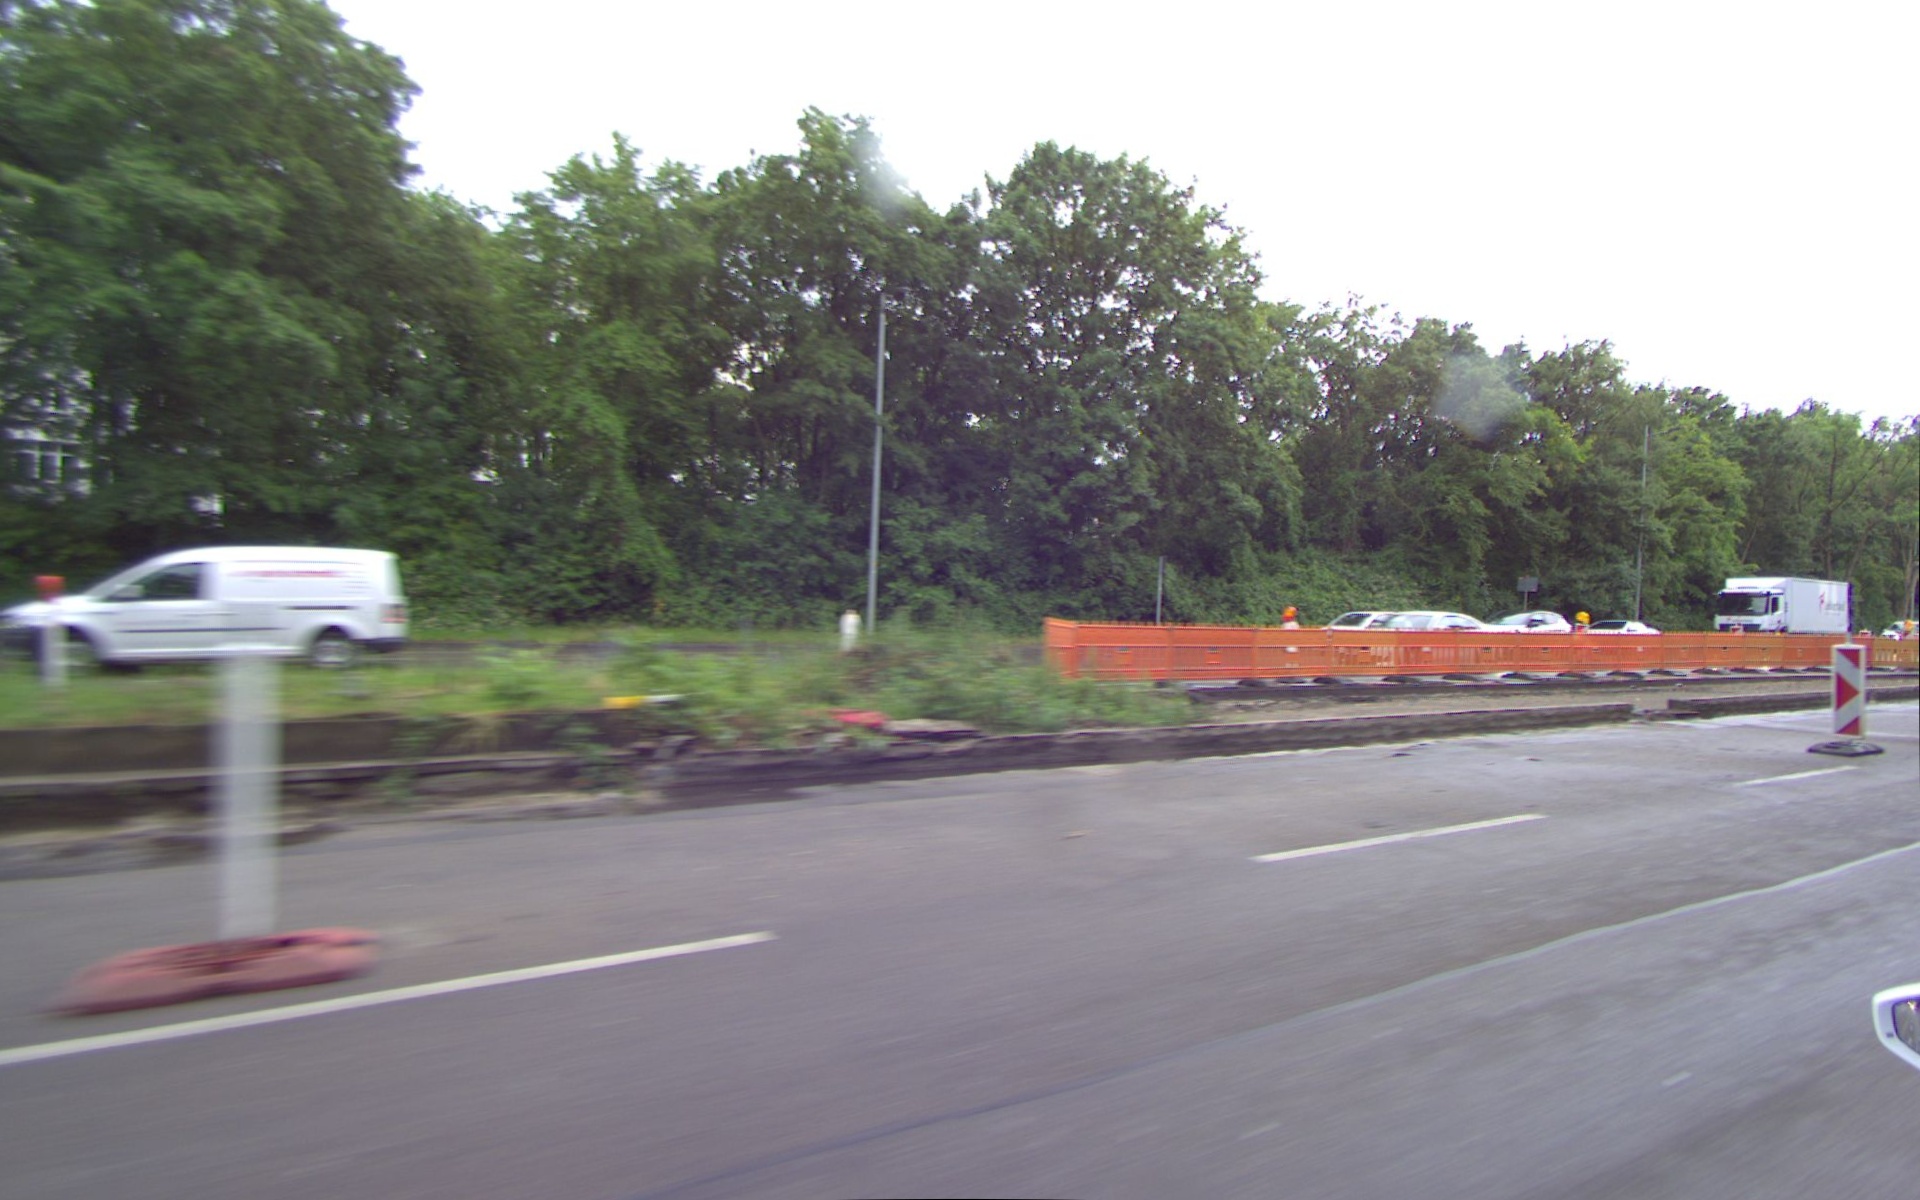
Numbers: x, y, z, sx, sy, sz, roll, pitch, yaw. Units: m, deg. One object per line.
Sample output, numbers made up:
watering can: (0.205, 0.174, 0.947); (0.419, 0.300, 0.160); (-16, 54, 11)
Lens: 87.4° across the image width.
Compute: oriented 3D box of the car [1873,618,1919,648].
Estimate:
car: (58.286, 2.046, 61.837); (4.665, 1.746, 1.835); (1, -3, -31)

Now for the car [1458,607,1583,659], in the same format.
car: (18.305, 1.074, 32.765); (3.994, 1.571, 1.825); (1, 0, -31)

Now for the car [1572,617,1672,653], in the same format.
car: (27.359, 1.446, 41.478); (4.319, 1.397, 1.800); (2, 0, -31)

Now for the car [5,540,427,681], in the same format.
car: (-10.698, 0.136, 14.962); (4.779, 1.805, 1.904); (1, 1, -32)

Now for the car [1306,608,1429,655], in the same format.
car: (13.421, 1.015, 33.053); (3.852, 1.444, 1.782); (1, 0, -31)

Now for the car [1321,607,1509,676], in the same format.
car: (11.089, 0.971, 24.406); (4.624, 1.506, 1.846); (1, 0, -31)

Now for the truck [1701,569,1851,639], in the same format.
truck: (40.816, 0.262, 50.086); (10.037, 3.190, 2.780); (2, 0, -33)

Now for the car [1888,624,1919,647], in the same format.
car: (51.711, 1.916, 53.963); (4.234, 1.168, 1.597); (2, 0, -31)
